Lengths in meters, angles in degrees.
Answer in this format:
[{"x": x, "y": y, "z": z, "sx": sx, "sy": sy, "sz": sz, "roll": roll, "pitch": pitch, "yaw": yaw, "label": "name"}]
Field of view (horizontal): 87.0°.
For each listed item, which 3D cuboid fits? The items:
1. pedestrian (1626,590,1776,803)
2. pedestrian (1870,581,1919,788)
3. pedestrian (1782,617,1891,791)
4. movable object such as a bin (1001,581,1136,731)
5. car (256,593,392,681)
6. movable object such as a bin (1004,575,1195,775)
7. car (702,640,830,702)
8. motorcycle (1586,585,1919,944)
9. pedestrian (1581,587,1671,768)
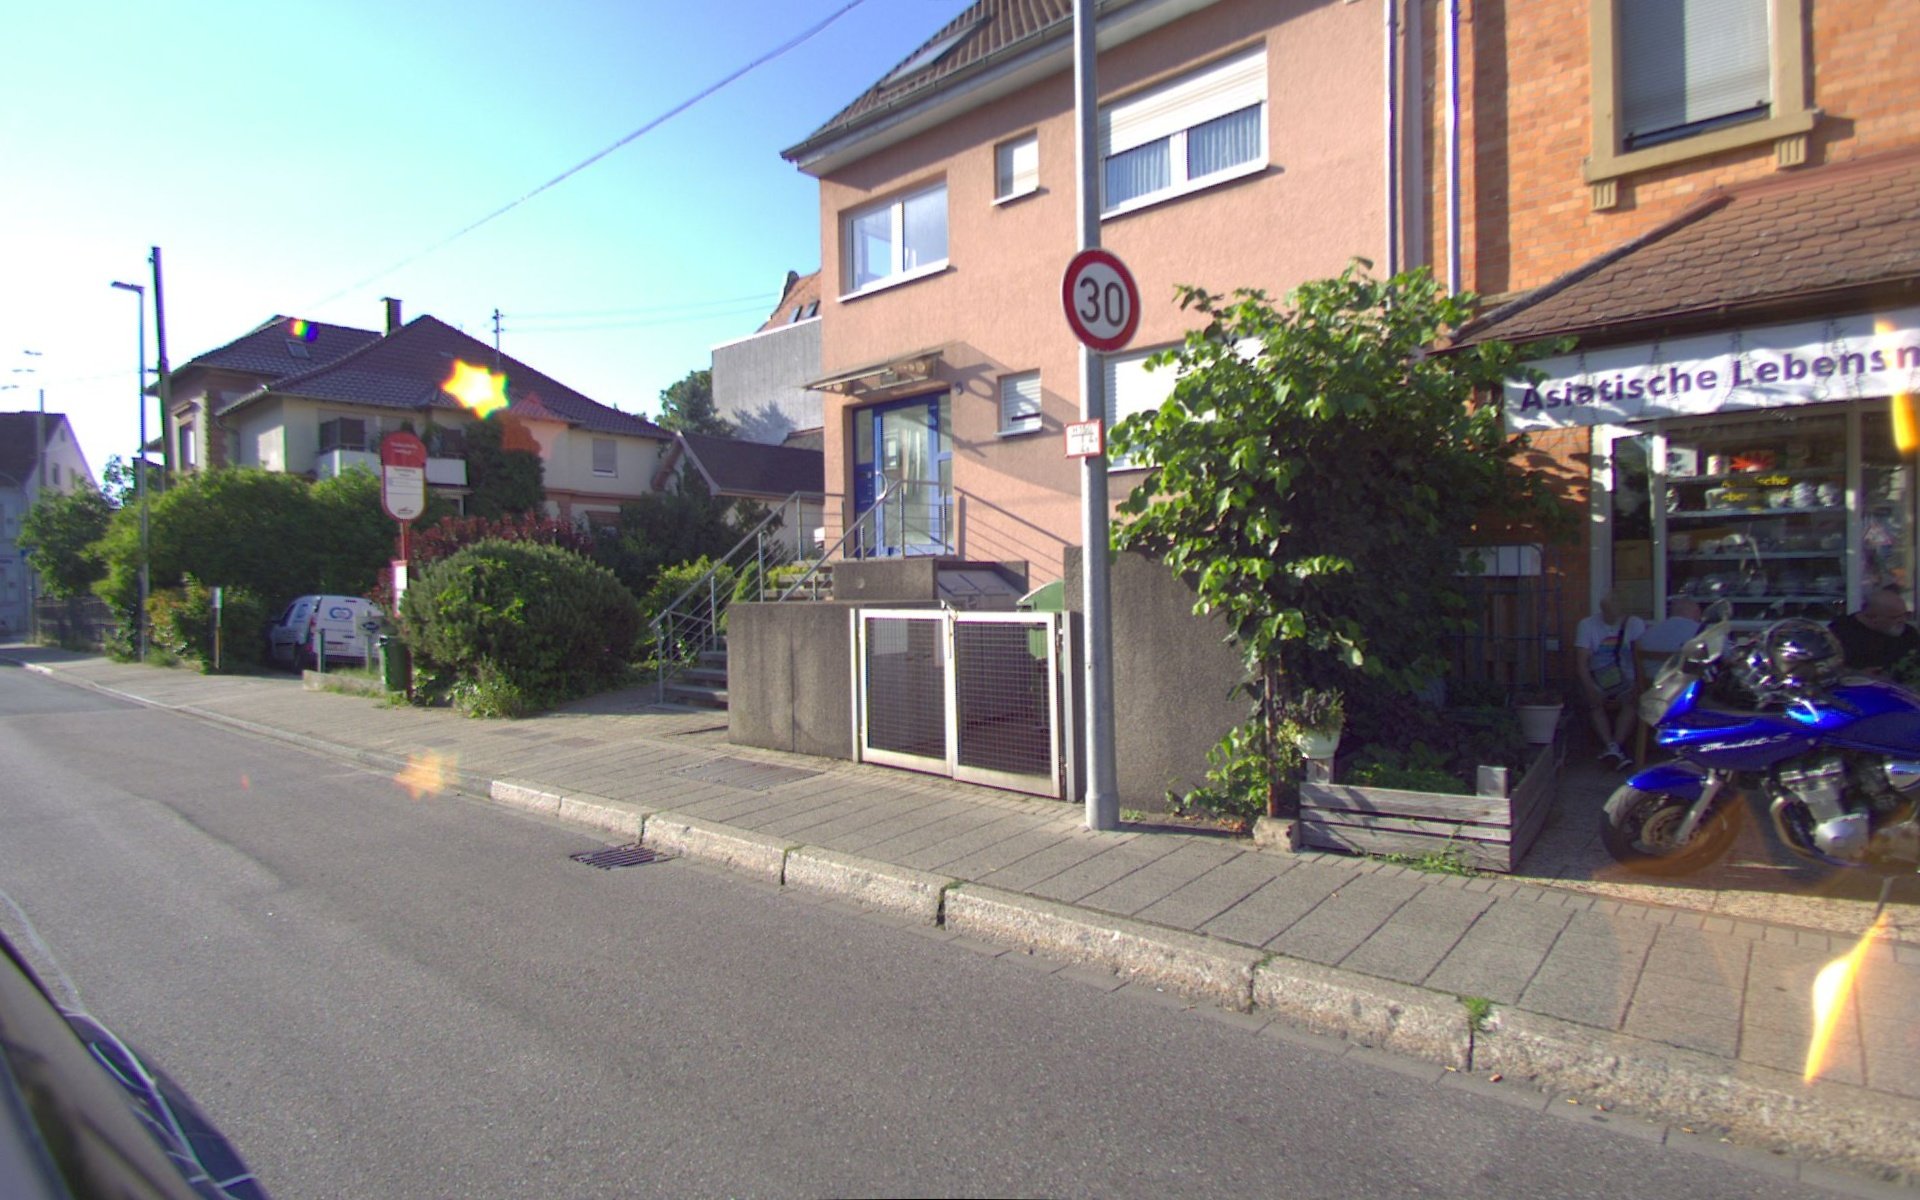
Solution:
[{"x": 4.760, "y": 0.574, "z": 6.499, "sx": 0.667, "sy": 1.253, "sz": 0.736, "roll": -1, "pitch": 0, "yaw": 44, "label": "pedestrian"}, {"x": 5.912, "y": 0.505, "z": 6.271, "sx": 0.384, "sy": 1.236, "sz": 0.517, "roll": -1, "pitch": 0, "yaw": 42, "label": "pedestrian"}, {"x": 5.652, "y": 0.645, "z": 6.543, "sx": 0.382, "sy": 1.055, "sz": 0.520, "roll": -1, "pitch": 0, "yaw": 25, "label": "pedestrian"}, {"x": 1.115, "y": 0.538, "z": 10.410, "sx": 1.041, "sy": 1.440, "sz": 0.913, "roll": -1, "pitch": 0, "yaw": 39, "label": "movable object such as a bin"}, {"x": -14.982, "y": 0.872, "z": 23.771, "sx": 3.671, "sy": 1.828, "sz": 1.682, "roll": -1, "pitch": -6, "yaw": 43, "label": "car"}, {"x": 1.139, "y": 0.541, "z": 8.117, "sx": 0.990, "sy": 1.440, "sz": 1.295, "roll": -1, "pitch": 0, "yaw": 37, "label": "movable object such as a bin"}, {"x": -5.803, "y": 2.076, "z": 30.055, "sx": 3.794, "sy": 1.681, "sz": 1.820, "roll": -1, "pitch": -5, "yaw": 44, "label": "car"}, {"x": 3.813, "y": 0.597, "z": 3.961, "sx": 2.229, "sy": 1.292, "sz": 0.831, "roll": -1, "pitch": 1, "yaw": 38, "label": "motorcycle"}, {"x": 4.910, "y": 0.546, "z": 7.458, "sx": 0.465, "sy": 1.268, "sz": 0.517, "roll": -1, "pitch": 0, "yaw": 43, "label": "pedestrian"}]
